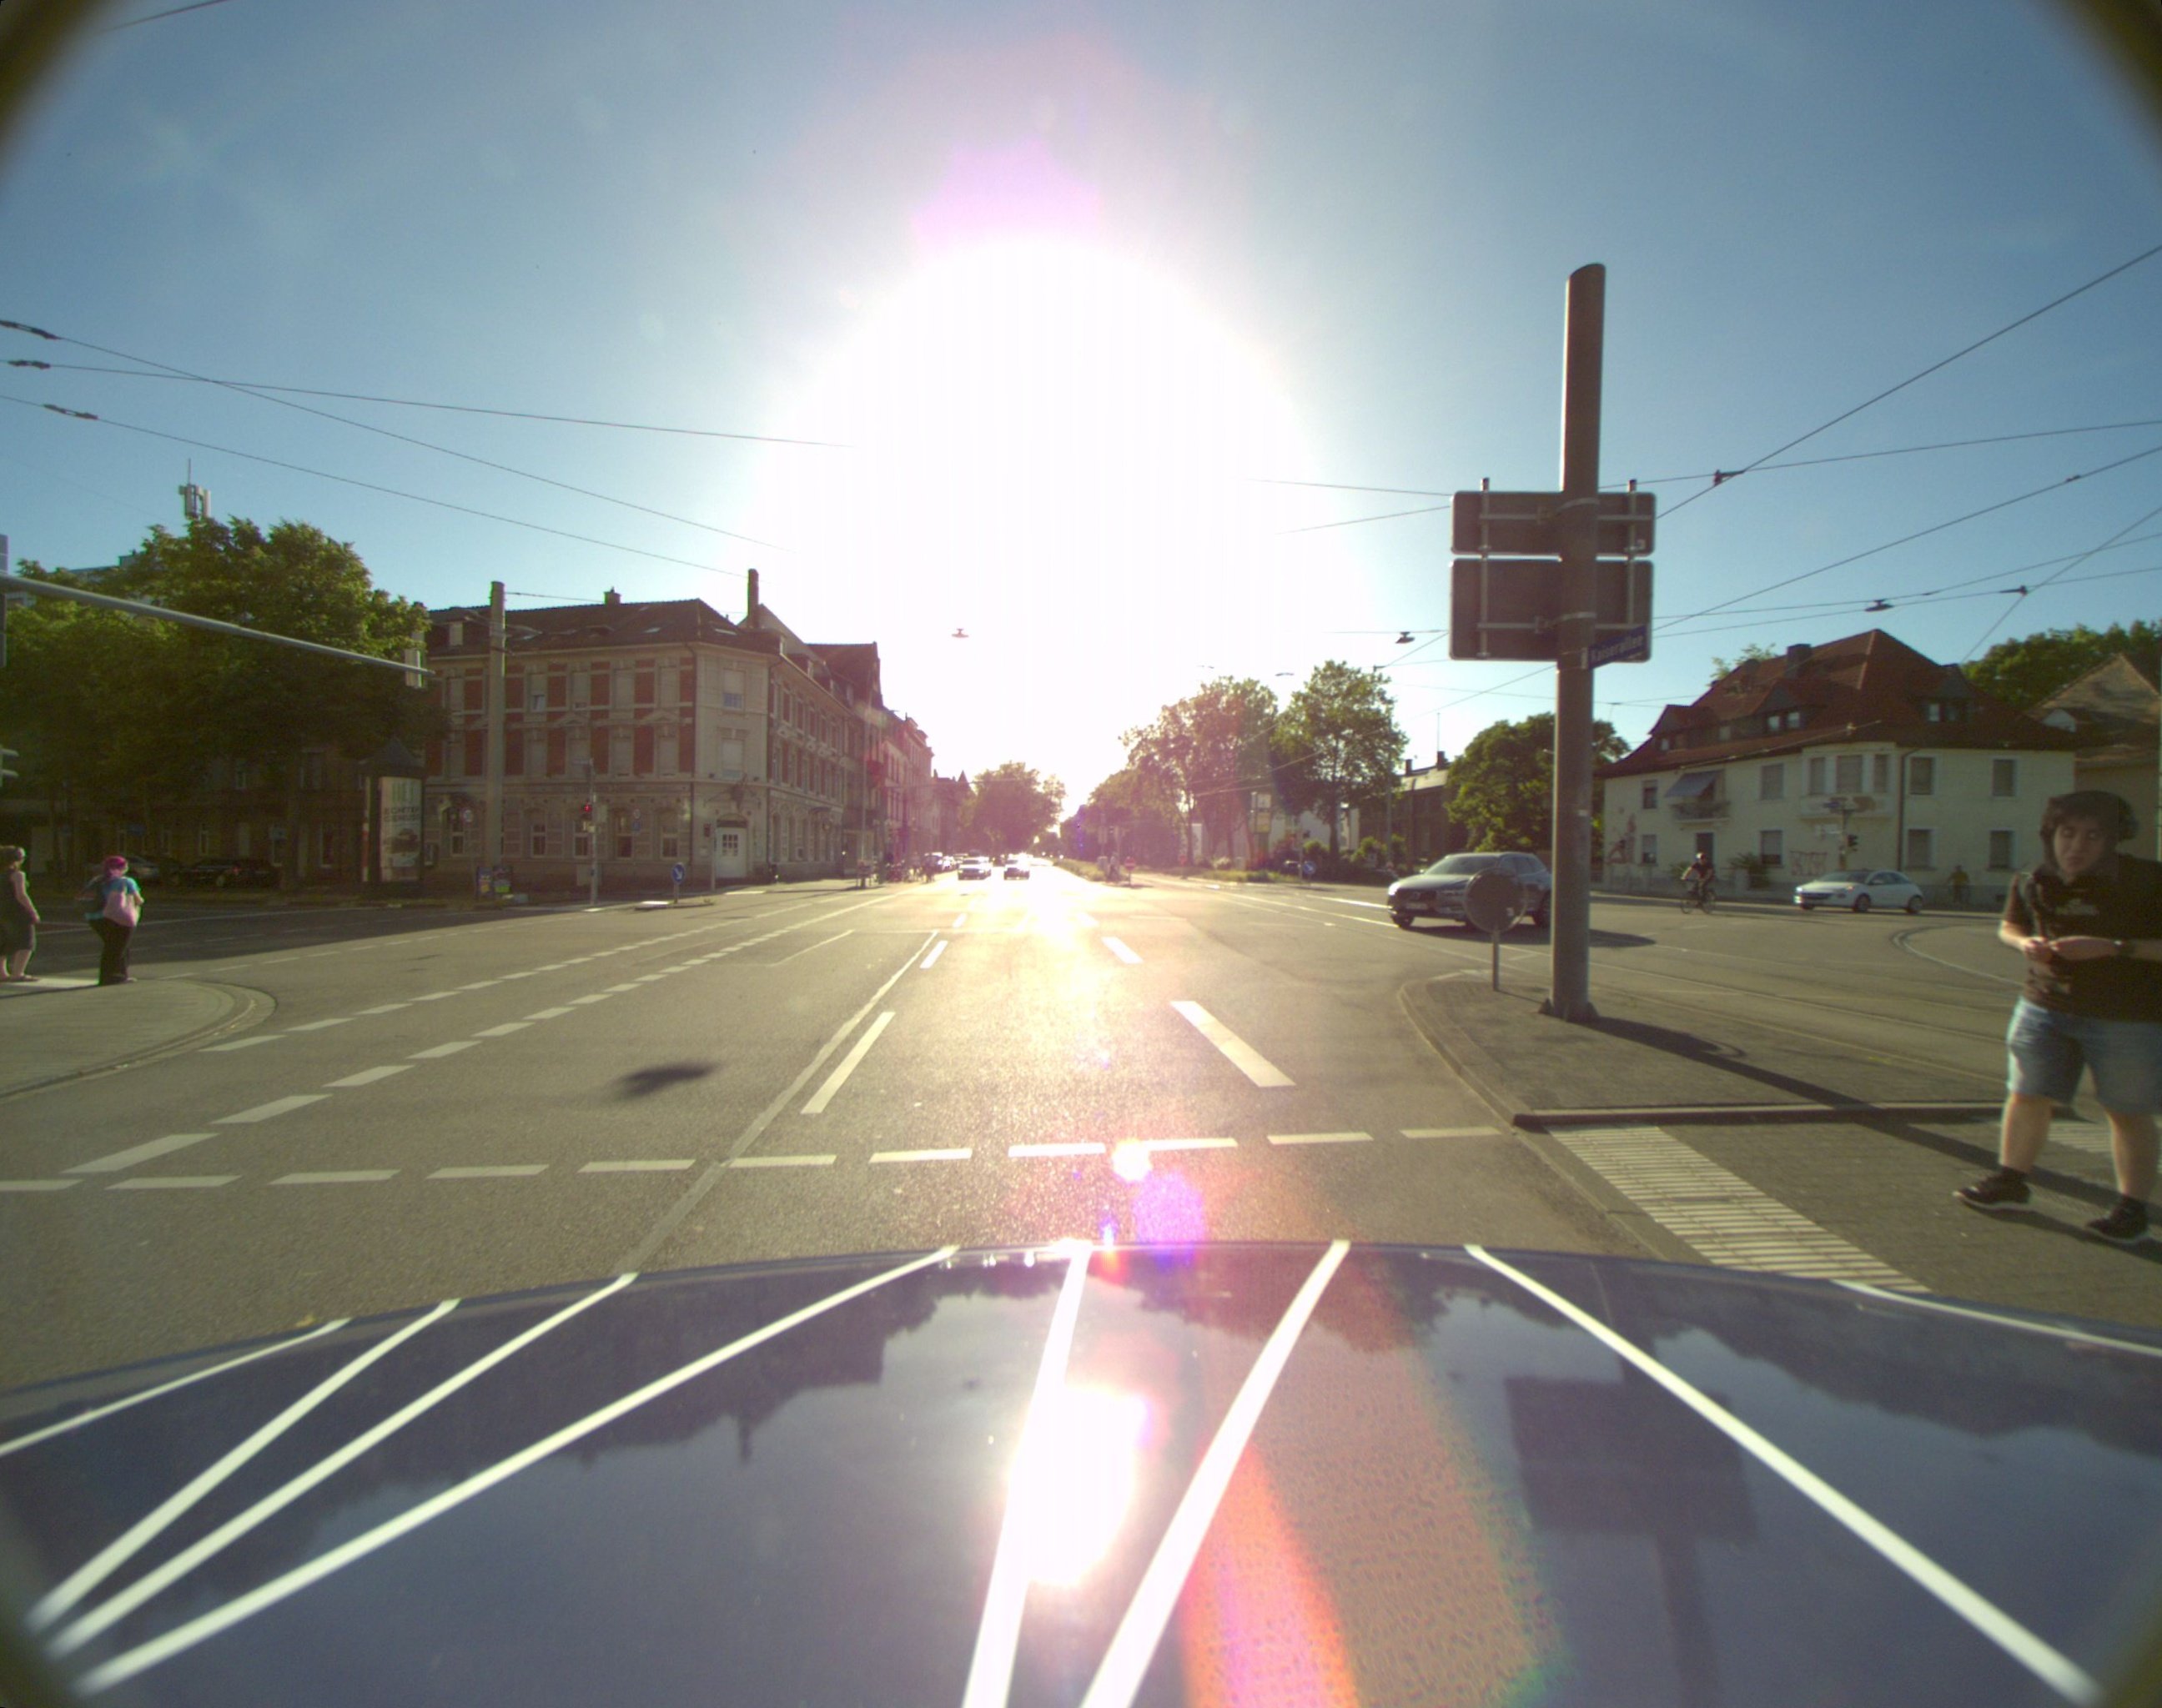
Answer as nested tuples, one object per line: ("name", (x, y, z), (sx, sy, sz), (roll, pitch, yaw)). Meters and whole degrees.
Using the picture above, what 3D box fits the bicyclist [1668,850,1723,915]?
("bicyclist", (18.468, 0.831, 22.842), (1.005, 1.872, 0.991), (0, 1, -31))

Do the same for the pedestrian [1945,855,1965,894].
("pedestrian", (39.173, 0.900, 34.067), (0.417, 1.733, 0.409), (0, 1, -5))

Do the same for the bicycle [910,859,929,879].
("bicycle", (-10.204, 0.964, 48.173), (0.693, 1.208, 2.298), (0, 0, 1))

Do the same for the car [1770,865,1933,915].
("car", (26.467, 1.200, 26.146), (4.274, 1.595, 1.997), (0, 1, -13))

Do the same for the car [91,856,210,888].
("car", (-46.170, 0.875, 37.750), (4.265, 1.483, 2.002), (0, 1, 12))

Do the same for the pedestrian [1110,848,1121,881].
("pedestrian", (1.892, 0.561, 41.517), (0.581, 1.824, 0.559), (0, 1, 5))

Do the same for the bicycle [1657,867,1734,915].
("bicycle", (18.499, 1.075, 22.866), (2.383, 1.349, 1.020), (0, 1, -31))

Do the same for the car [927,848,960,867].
("car", (-13.338, 0.312, 74.158), (2.295, 1.716, 4.594), (0, 0, 2))

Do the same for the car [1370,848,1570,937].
("car", (8.569, 0.721, 16.598), (4.628, 1.660, 1.976), (-1, 1, -35))

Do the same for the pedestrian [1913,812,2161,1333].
("pedestrian", (3.879, 0.703, 2.774), (0.799, 1.680, 0.776), (0, 1, -1))

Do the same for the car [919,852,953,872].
("car", (-12.889, 0.709, 67.955), (2.296, 1.716, 4.593), (0, 0, -2))

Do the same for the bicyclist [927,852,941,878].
("bicyclist", (-9.007, 0.683, 46.525), (0.697, 1.596, 0.745), (0, 1, 1))

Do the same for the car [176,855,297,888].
("car", (-40.358, 0.795, 36.349), (4.265, 1.483, 2.002), (0, 1, 13))

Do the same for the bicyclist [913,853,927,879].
("bicyclist", (-10.203, 0.759, 48.100), (0.697, 1.596, 0.745), (0, 1, 1))

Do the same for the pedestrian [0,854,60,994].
("pedestrian", (-13.361, 0.843, 9.345), (0.663, 1.680, 0.677), (0, 1, -5))

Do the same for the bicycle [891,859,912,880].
("bicycle", (-10.790, 0.911, 45.691), (0.693, 1.208, 2.298), (0, 0, 1))

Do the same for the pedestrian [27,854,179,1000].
("pedestrian", (-11.811, 0.861, 9.209), (0.775, 1.680, 0.800), (0, -1, -5))

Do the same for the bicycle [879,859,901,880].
("bicycle", (-11.494, 0.938, 45.747), (0.693, 1.208, 2.298), (0, 0, 1))

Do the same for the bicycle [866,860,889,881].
("bicycle", (-12.236, 0.978, 45.724), (0.693, 1.208, 2.298), (0, 0, 1))

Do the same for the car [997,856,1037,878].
("car", (-4.306, 0.875, 51.716), (2.295, 1.391, 4.594), (0, 0, 1))

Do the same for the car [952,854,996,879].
("car", (-7.242, 0.793, 51.713), (2.295, 1.566, 4.594), (0, 0, 1))

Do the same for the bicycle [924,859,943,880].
("bicycle", (-9.004, 0.920, 46.406), (0.693, 1.208, 2.298), (0, 0, 1))
